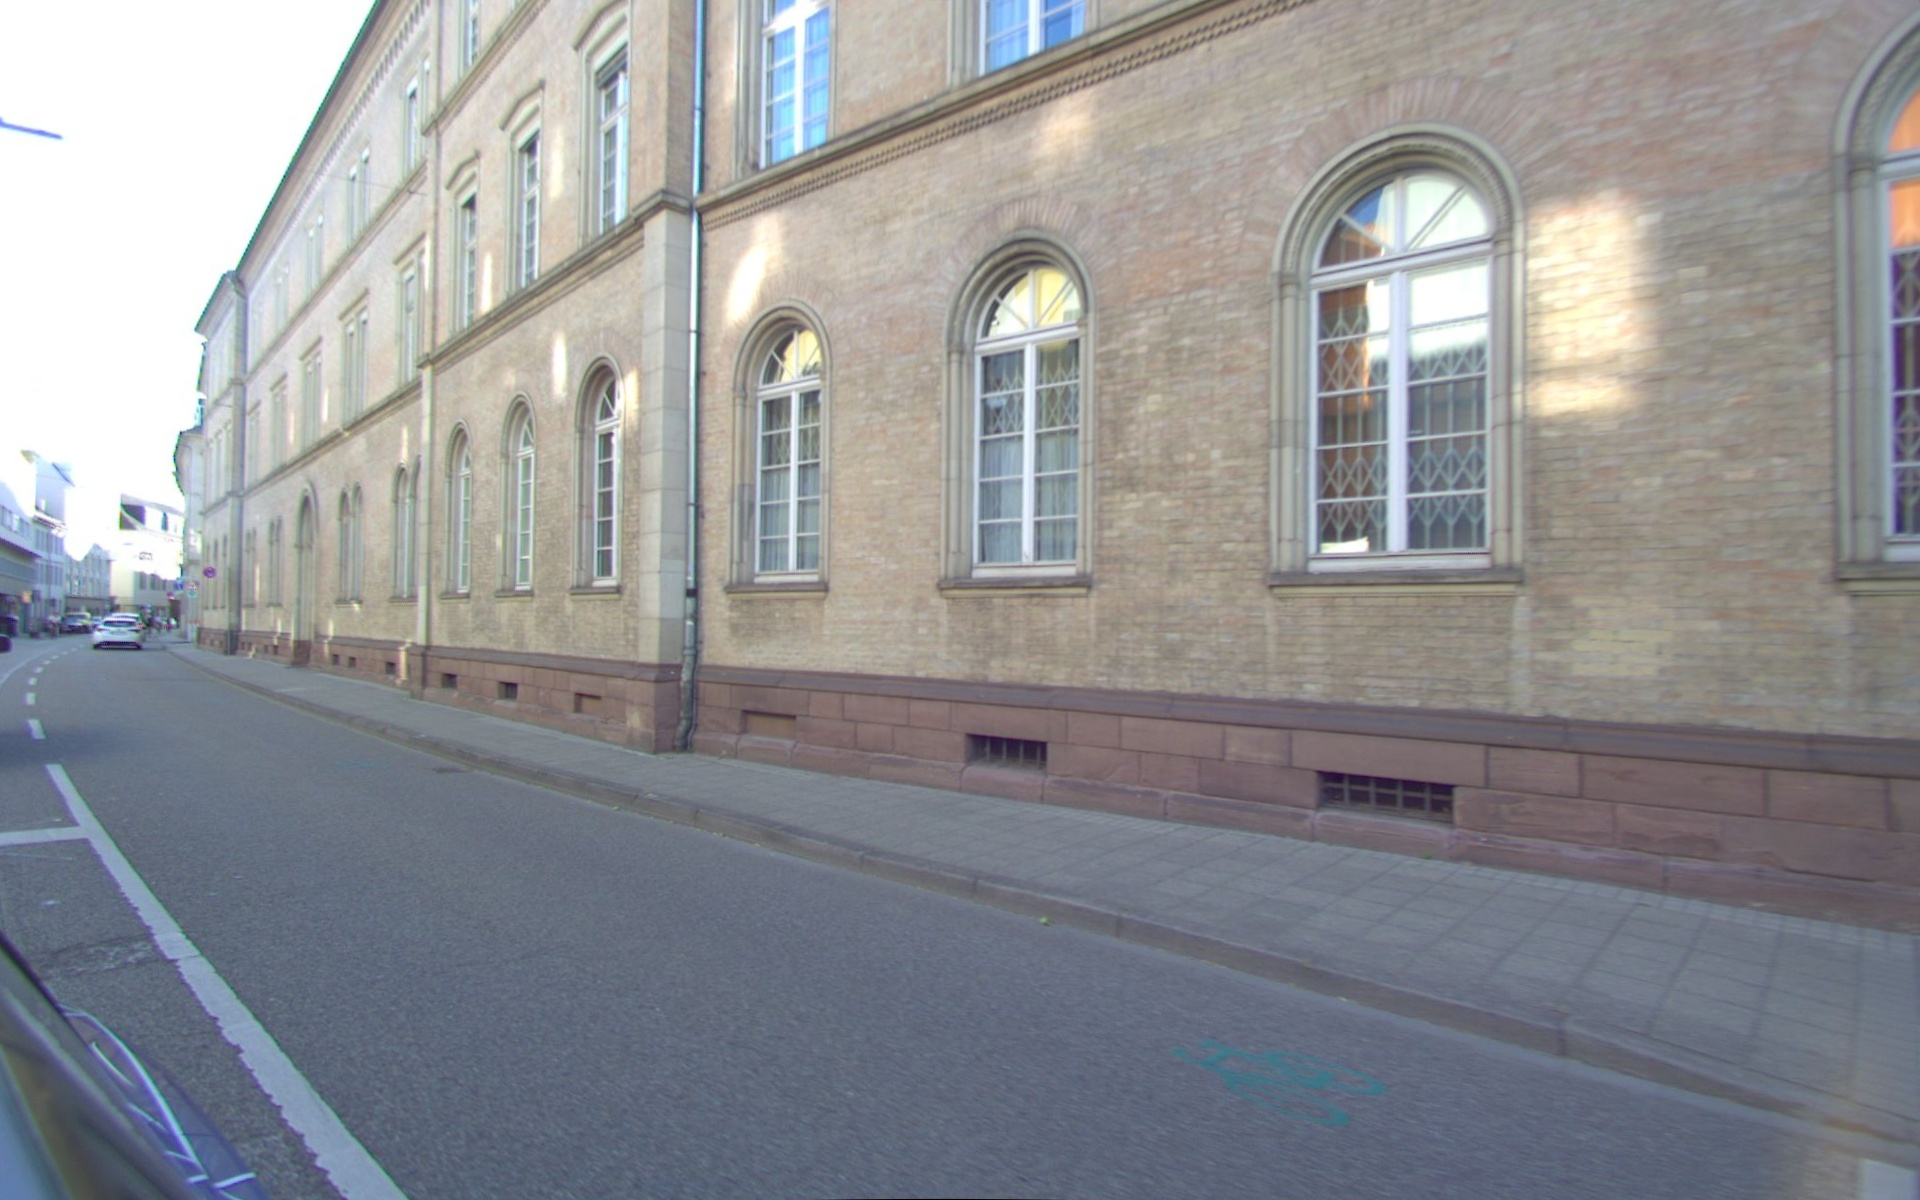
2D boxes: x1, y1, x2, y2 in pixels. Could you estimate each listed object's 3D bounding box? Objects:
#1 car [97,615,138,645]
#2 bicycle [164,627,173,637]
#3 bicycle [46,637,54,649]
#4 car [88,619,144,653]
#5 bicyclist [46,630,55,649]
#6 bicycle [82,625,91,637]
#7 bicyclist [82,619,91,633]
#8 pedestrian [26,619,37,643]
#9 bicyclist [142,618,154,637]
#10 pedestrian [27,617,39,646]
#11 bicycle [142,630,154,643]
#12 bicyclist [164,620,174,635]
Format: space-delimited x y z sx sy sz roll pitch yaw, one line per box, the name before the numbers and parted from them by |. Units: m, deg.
car | -47.750 1.688 57.415 1.664 1.595 4.282 4 -4 -39
bicycle | -81.950 3.315 104.767 0.641 1.014 1.880 4 -4 -36
bicycle | -53.320 2.515 59.306 0.343 0.729 1.119 2 -2 -41
car | -39.281 1.656 47.115 1.863 1.487 4.552 4 -4 -40
bicyclist | -53.323 2.290 59.315 0.343 1.116 0.368 2 -2 -41
bicycle | -78.358 2.762 90.799 0.540 1.091 1.967 2 -2 -39
bicyclist | -78.303 2.352 90.745 0.540 1.220 0.585 2 -2 -40
pedestrian | -59.761 2.005 65.126 0.501 1.572 0.412 2 -2 -41
bicyclist | -60.140 2.042 74.951 0.595 1.454 0.579 2 -2 -41
pedestrian | -57.681 1.943 62.970 0.501 1.775 0.412 2 -2 -41
bicycle | -60.142 2.712 74.944 0.600 0.935 2.268 2 -2 -41
bicyclist | -81.925 2.820 104.805 0.641 1.520 1.114 4 -4 -36
